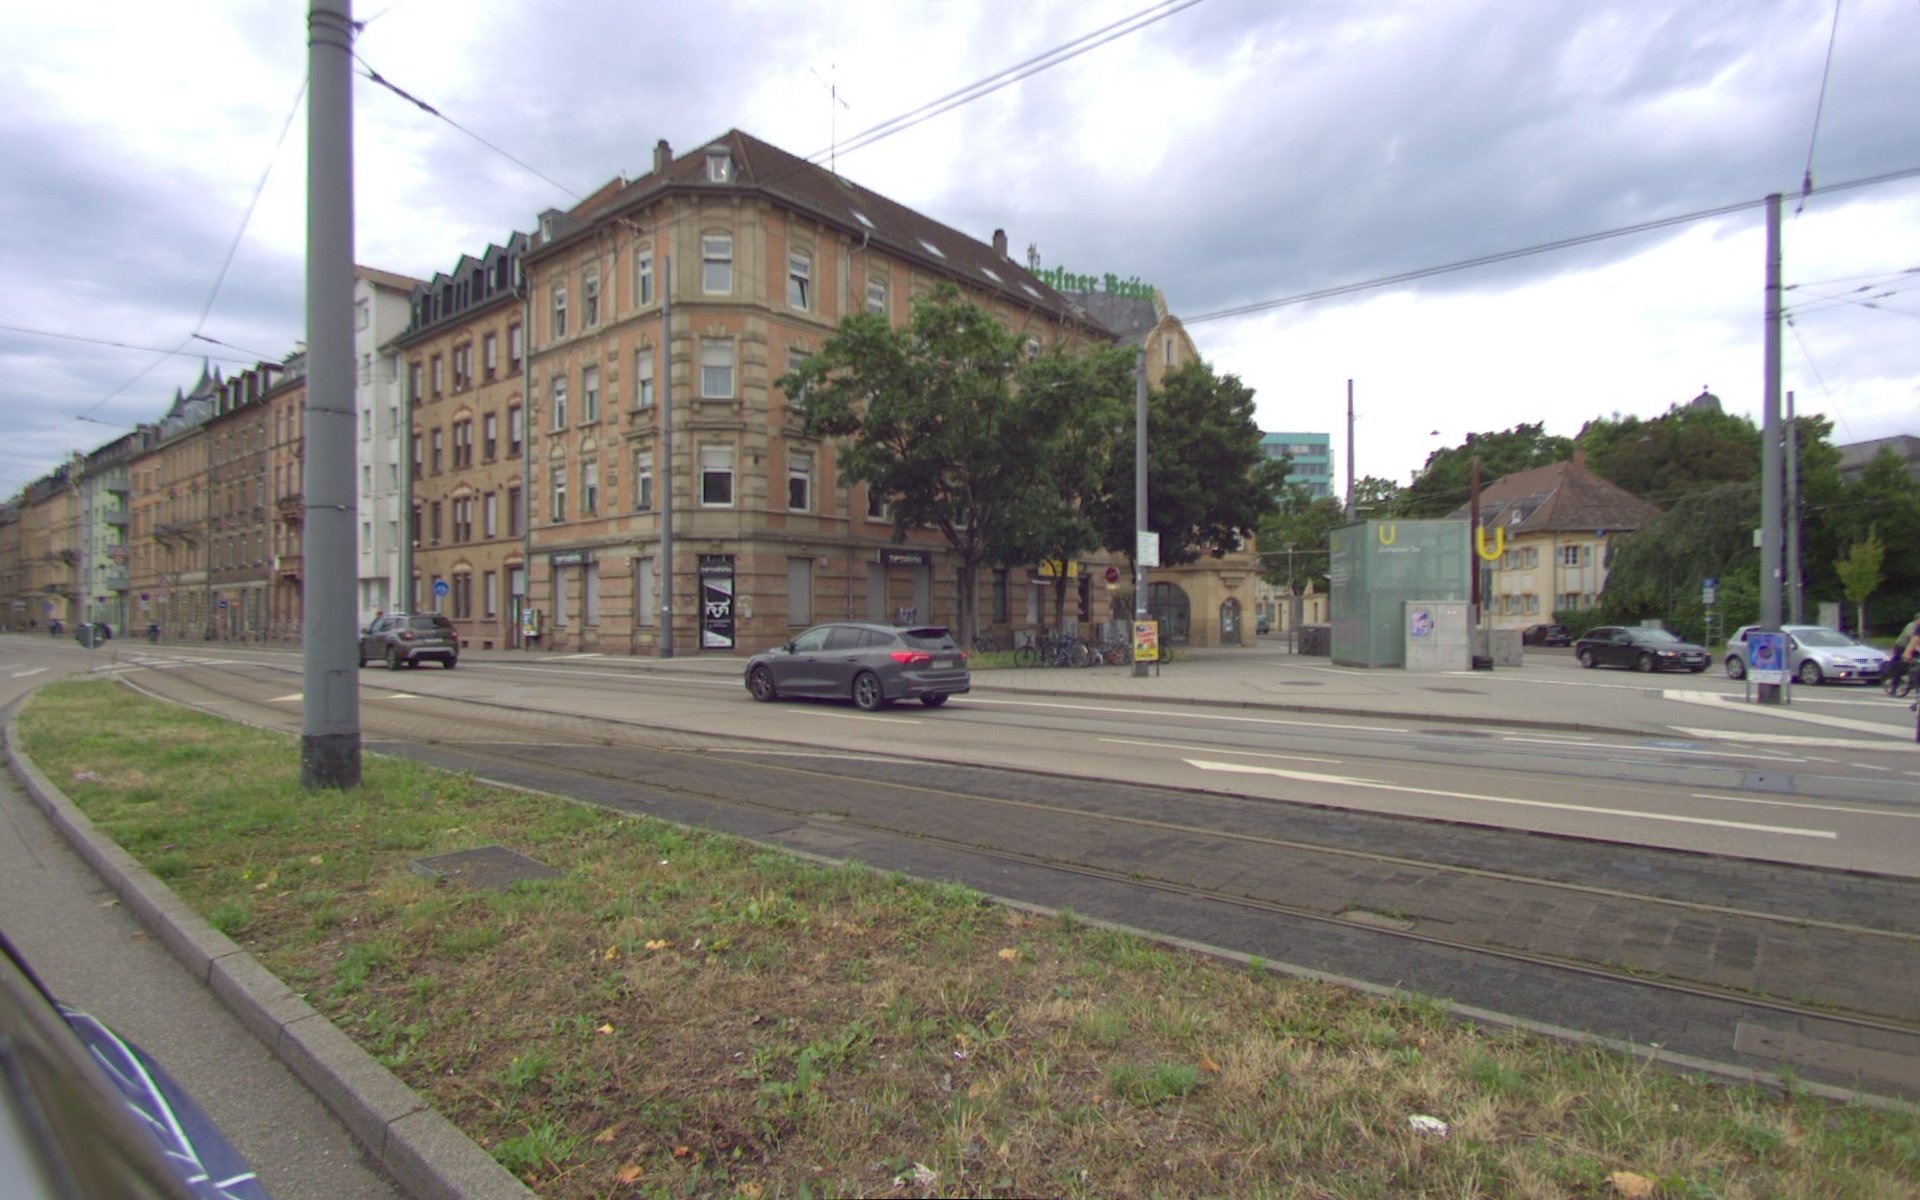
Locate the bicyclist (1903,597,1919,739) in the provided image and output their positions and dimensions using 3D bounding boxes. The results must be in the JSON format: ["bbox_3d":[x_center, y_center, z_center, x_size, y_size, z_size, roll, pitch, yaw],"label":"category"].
[{"bbox_3d":[12.777,0.857,13.046,0.816,1.812,1.015,-3,-3,43],"label":"bicyclist"}]

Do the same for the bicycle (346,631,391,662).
[{"bbox_3d":[-23.695,1.855,40.544,2.232,1.217,0.816,-2,-3,40],"label":"bicycle"}]

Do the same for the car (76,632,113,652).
[{"bbox_3d":[-68.820,3.344,80.434,3.828,1.491,1.828,-1,-2,43],"label":"car"}]

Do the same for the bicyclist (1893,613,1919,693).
[{"bbox_3d":[19.960,1.087,20.710,0.843,1.635,0.917,0,-2,1],"label":"bicyclist"}]

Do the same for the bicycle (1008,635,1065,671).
[{"bbox_3d":[2.244,1.547,29.749,0.492,0.994,1.872,1,-2,-41],"label":"bicycle"}]

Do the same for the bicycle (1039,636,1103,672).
[{"bbox_3d":[3.311,1.606,30.502,0.472,1.014,2.224,0,-1,-39],"label":"bicycle"}]

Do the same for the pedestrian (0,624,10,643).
[{"bbox_3d":[-104.920,3.645,111.169,0.733,2.029,0.804,-1,-2,41],"label":"pedestrian"}]

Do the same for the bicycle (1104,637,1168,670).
[{"bbox_3d":[5.753,1.733,33.153,0.576,0.994,2.224,0,-1,-39],"label":"bicycle"}]

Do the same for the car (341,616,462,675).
[{"bbox_3d":[-16.889,1.321,30.532,4.225,1.652,1.780,-1,-1,39],"label":"car"}]

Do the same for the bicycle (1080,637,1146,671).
[{"bbox_3d":[4.796,1.694,31.831,0.601,0.994,2.224,0,-1,-39],"label":"bicycle"}]

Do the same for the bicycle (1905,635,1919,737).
[{"bbox_3d":[12.727,1.086,12.987,0.816,1.252,1.971,-3,-4,43],"label":"bicycle"}]

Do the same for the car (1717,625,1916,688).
[{"bbox_3d":[21.894,1.389,26.130,1.739,1.465,4.156,-1,-1,4],"label":"car"}]

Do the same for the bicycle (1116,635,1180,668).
[{"bbox_3d":[6.353,1.733,34.278,0.678,1.047,2.224,0,-1,-39],"label":"bicycle"}]

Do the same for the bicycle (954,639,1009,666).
[{"bbox_3d":[0.805,1.974,37.994,1.982,0.921,0.655,-4,-5,31],"label":"bicycle"}]

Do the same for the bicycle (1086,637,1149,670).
[{"bbox_3d":[5.030,1.693,32.490,0.492,0.994,2.224,0,-1,-39],"label":"bicycle"}]

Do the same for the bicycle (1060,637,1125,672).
[{"bbox_3d":[4.029,1.641,30.834,0.492,0.994,2.224,0,-1,-39],"label":"bicycle"}]

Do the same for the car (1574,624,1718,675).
[{"bbox_3d":[21.792,1.527,32.375,1.673,1.460,4.144,-1,-1,-1],"label":"car"}]

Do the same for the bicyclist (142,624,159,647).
[{"bbox_3d":[-51.660,2.259,64.598,0.941,1.506,0.655,-1,-1,37],"label":"bicyclist"}]

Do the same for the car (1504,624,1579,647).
[{"bbox_3d":[35.605,2.165,62.084,1.904,1.298,4.006,0,-1,-7],"label":"car"}]

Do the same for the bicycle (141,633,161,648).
[{"bbox_3d":[-51.650,2.583,64.591,1.716,0.922,0.600,-1,-1,37],"label":"bicycle"}]

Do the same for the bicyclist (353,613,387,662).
[{"bbox_3d":[-23.582,1.501,40.467,1.048,1.906,0.821,-2,-3,39],"label":"bicyclist"}]

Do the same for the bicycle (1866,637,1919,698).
[{"bbox_3d":[19.956,1.385,20.708,0.845,1.217,2.197,0,-1,1],"label":"bicycle"}]

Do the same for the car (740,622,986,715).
[{"bbox_3d":[-1.770,1.092,17.489,4.389,1.406,1.676,-1,-2,41],"label":"car"}]

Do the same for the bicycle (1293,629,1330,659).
[{"bbox_3d":[13.927,1.709,40.121,0.730,1.123,2.361,-1,-1,3],"label":"bicycle"}]

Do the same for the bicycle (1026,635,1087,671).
[{"bbox_3d":[2.859,1.564,30.176,0.513,0.994,2.041,0,-1,-39],"label":"bicycle"}]
